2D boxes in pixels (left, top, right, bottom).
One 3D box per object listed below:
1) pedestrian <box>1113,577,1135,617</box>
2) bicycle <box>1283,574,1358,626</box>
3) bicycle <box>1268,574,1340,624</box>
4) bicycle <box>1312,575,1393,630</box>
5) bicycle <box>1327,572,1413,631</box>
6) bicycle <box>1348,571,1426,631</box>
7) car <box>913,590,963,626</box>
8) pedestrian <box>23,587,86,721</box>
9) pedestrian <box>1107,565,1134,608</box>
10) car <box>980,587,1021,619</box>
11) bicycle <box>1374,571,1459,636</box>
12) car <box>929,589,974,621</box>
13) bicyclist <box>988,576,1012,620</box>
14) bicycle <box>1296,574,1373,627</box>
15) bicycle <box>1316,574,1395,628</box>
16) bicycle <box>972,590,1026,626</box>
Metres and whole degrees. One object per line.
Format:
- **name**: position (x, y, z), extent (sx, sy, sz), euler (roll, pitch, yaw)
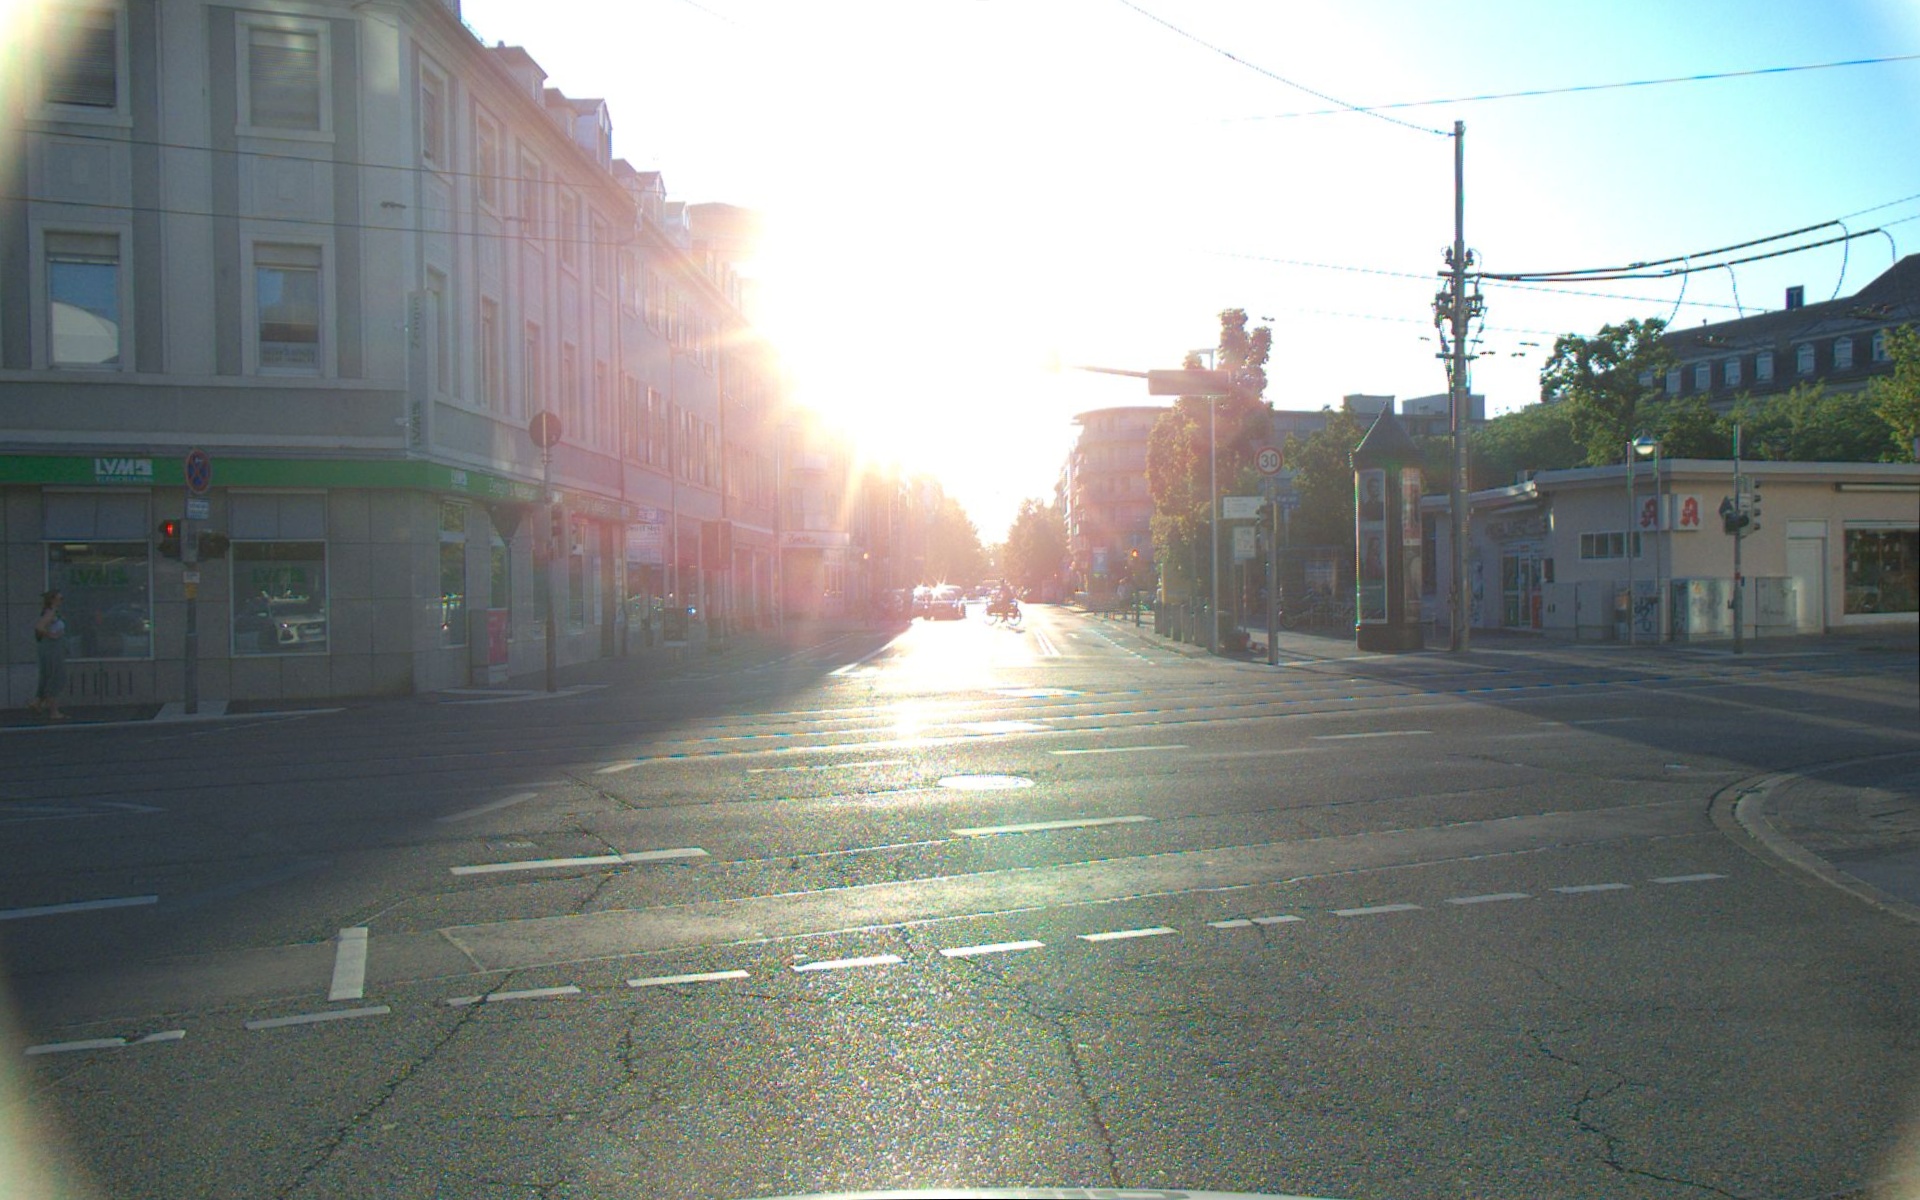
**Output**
- **pedestrian**: position (7.606, -0.149, 76.802), extent (0.787, 1.817, 0.994), euler (-3, -1, 15)
- **bicycle**: position (11.270, -0.001, 51.771), extent (2.176, 1.549, 0.681), euler (-1, 0, 2)
- **bicycle**: position (11.124, -0.035, 53.535), extent (2.175, 1.549, 0.681), euler (-1, 0, 6)
- **bicycle**: position (11.391, 0.067, 48.003), extent (2.176, 1.549, 0.681), euler (-1, 0, 2)
- **bicycle**: position (11.245, 0.038, 45.364), extent (2.176, 1.549, 0.681), euler (-1, 0, 2)
- **bicycle**: position (11.427, 0.020, 44.317), extent (1.944, 1.549, 0.479), euler (-1, 0, 2)
- **car**: position (-1.080, 0.355, 83.991), extent (2.256, 1.707, 5.533), euler (-1, 0, 1)
- **pedestrian**: position (-12.509, 0.735, 22.864), extent (0.636, 1.809, 0.668), euler (-1, 0, -21)
- **pedestrian**: position (7.585, -0.658, 78.263), extent (0.971, 1.991, 0.805), euler (-2, 0, 28)
- **car**: position (2.338, 0.149, 95.827), extent (2.256, 1.707, 5.533), euler (-1, 0, 1)
- **bicycle**: position (11.266, 0.088, 40.869), extent (1.944, 1.549, 0.479), euler (-1, 0, 1)
- **car**: position (-0.447, 0.248, 91.573), extent (2.256, 1.707, 5.533), euler (-1, 0, 1)
- **bicyclist**: position (1.615, -0.088, 66.413), extent (0.656, 1.737, 0.678), euler (-1, 0, 36)
- **bicycle**: position (11.388, 0.026, 50.384), extent (2.176, 1.549, 0.681), euler (-1, 0, 2)
- **bicycle**: position (11.785, 0.038, 49.294), extent (2.176, 1.549, 0.681), euler (-1, 0, 2)
- **bicycle**: position (1.555, 0.323, 66.459), extent (2.185, 1.426, 0.678), euler (-1, 0, 37)
